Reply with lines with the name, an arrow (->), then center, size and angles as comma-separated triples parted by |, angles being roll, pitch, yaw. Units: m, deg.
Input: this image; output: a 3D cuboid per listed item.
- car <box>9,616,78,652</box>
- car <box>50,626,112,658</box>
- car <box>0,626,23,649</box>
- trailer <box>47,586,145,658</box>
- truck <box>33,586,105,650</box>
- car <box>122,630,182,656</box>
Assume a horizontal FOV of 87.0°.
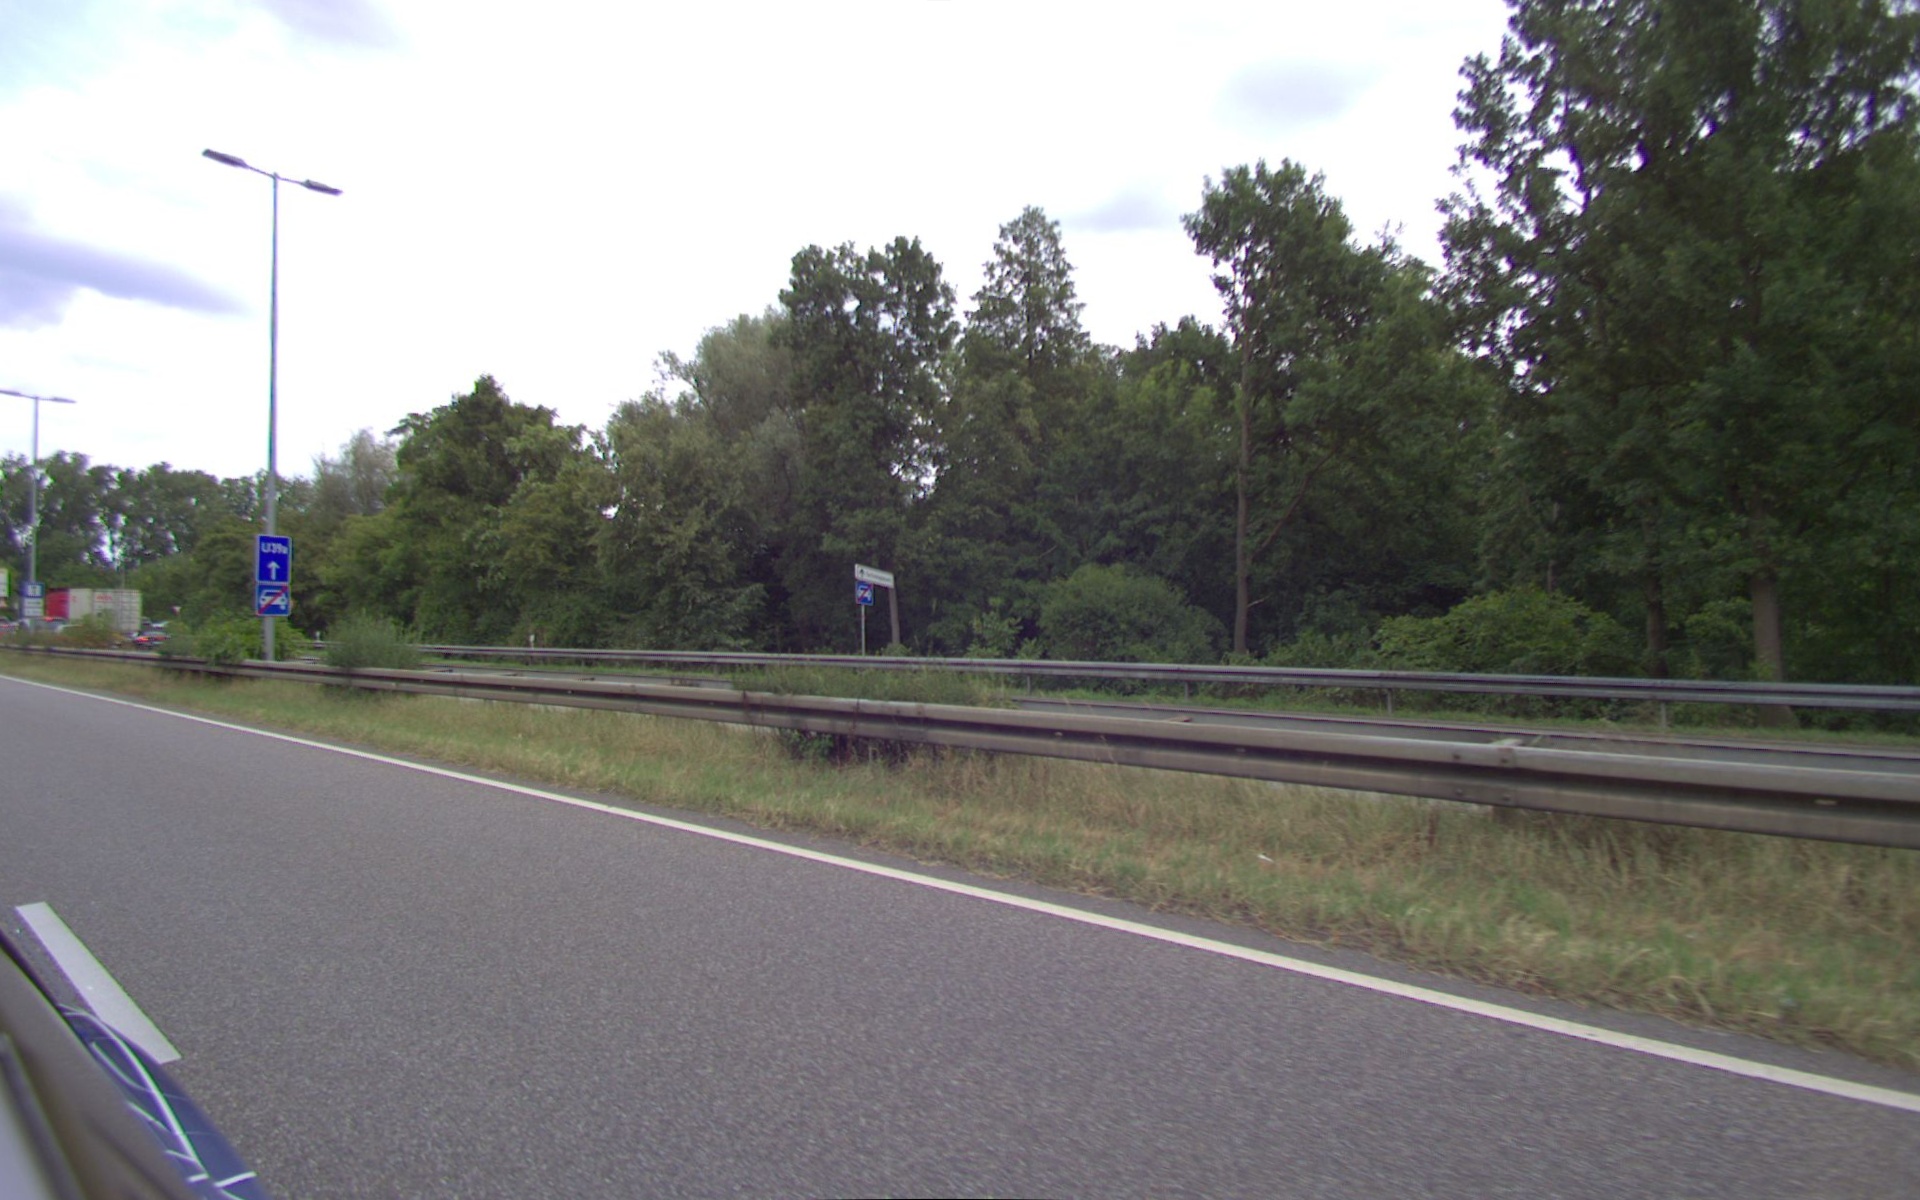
car -> -51.287, 1.851, 56.598 | 5.270, 1.877, 1.990 | 0, -1, 38
car -> -44.998, 2.116, 51.808 | 3.936, 1.517, 1.749 | 0, -1, 39
car -> -63.927, 2.484, 67.137 | 4.118, 1.443, 1.788 | 0, -1, 36
trailer -> -54.302, 1.278, 63.474 | 10.755, 4.178, 2.511 | 0, -1, 38
truck -> -59.310, 1.162, 67.355 | 5.615, 4.114, 2.544 | 0, -1, 38
car -> -44.533, 2.347, 55.746 | 3.996, 1.298, 1.801 | 0, -1, 40
